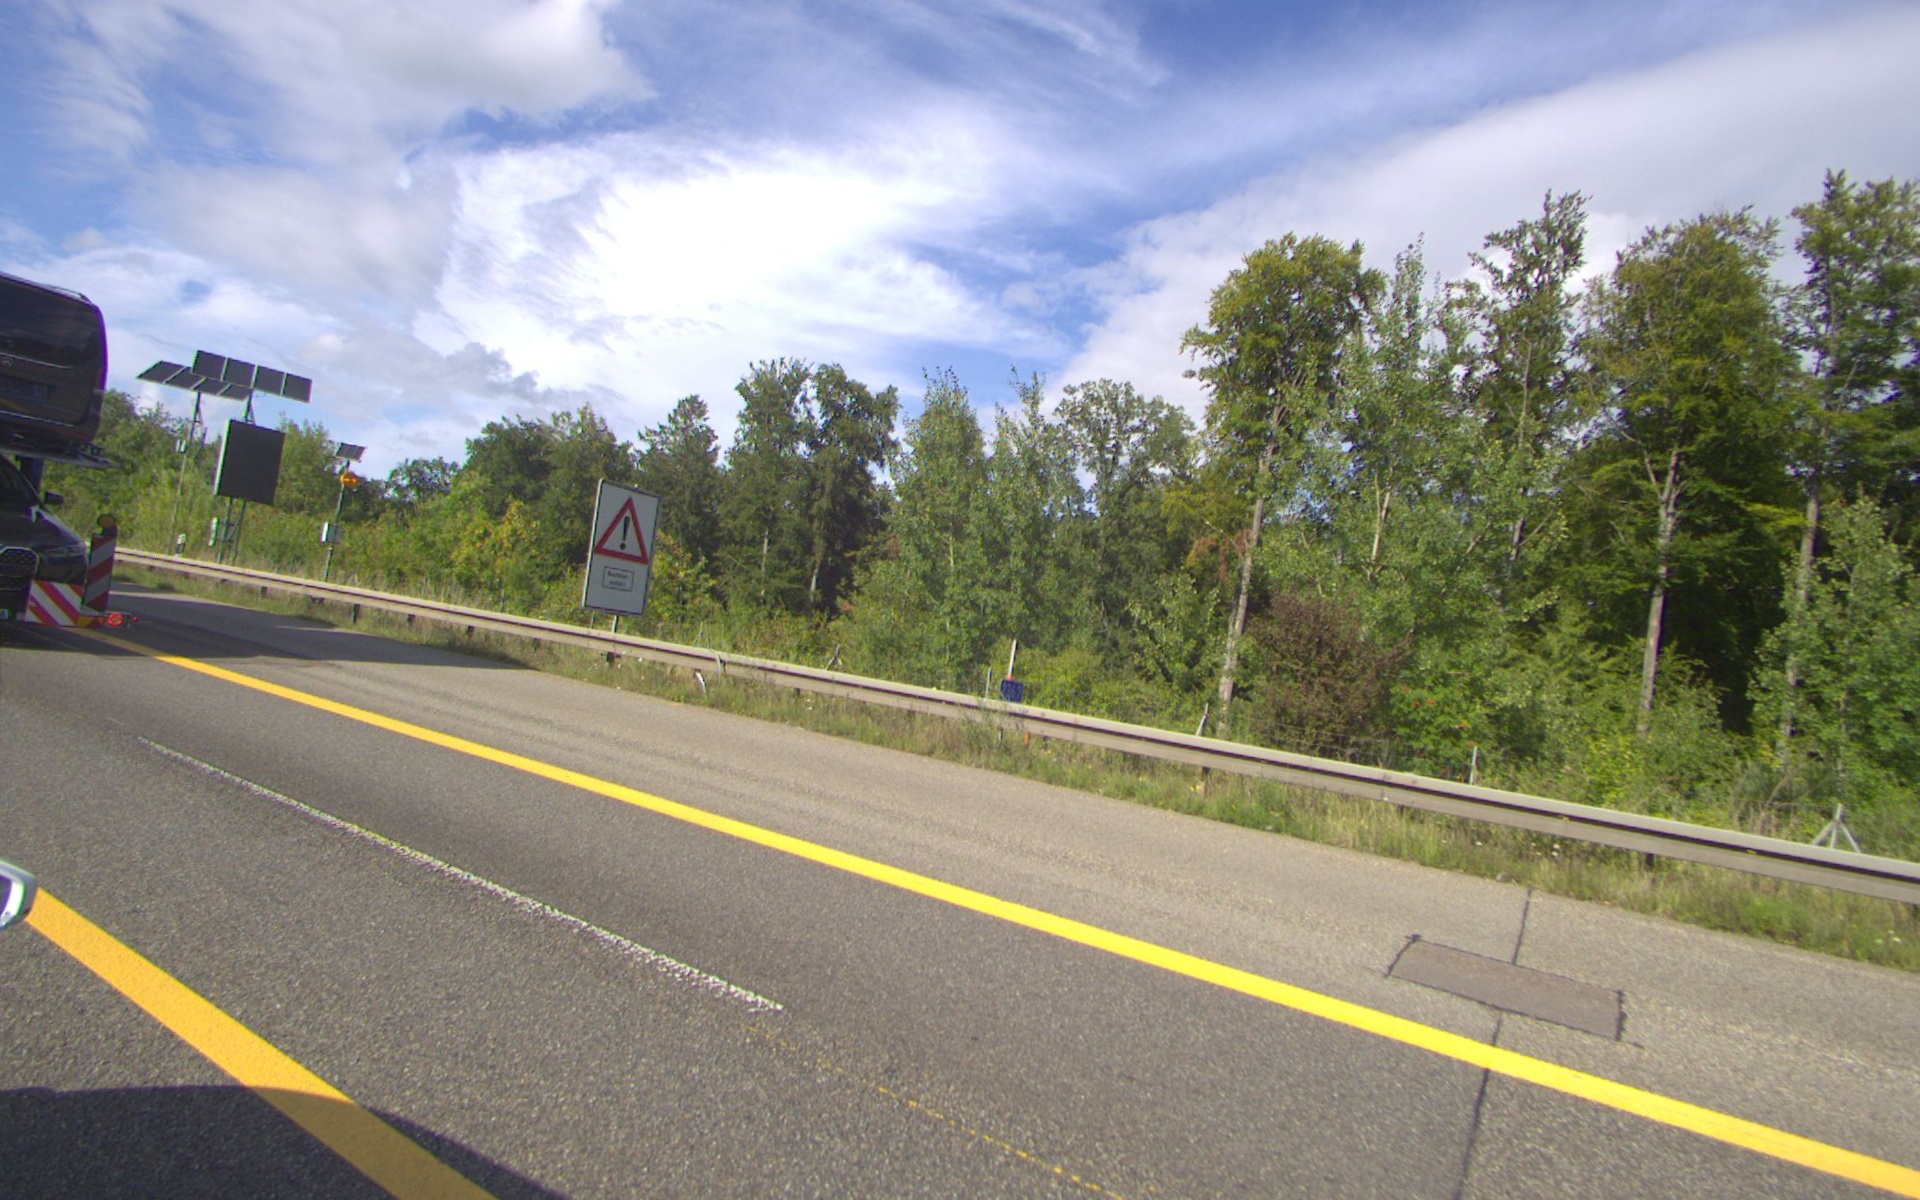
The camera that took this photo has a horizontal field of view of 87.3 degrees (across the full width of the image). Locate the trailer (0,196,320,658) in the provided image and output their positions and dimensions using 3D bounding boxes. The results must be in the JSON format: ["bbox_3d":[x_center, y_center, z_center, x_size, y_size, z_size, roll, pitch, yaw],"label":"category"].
[{"bbox_3d":[-15.567,-2.351,14.566,15.959,4.245,3.733,6,-2,32],"label":"trailer"}]
